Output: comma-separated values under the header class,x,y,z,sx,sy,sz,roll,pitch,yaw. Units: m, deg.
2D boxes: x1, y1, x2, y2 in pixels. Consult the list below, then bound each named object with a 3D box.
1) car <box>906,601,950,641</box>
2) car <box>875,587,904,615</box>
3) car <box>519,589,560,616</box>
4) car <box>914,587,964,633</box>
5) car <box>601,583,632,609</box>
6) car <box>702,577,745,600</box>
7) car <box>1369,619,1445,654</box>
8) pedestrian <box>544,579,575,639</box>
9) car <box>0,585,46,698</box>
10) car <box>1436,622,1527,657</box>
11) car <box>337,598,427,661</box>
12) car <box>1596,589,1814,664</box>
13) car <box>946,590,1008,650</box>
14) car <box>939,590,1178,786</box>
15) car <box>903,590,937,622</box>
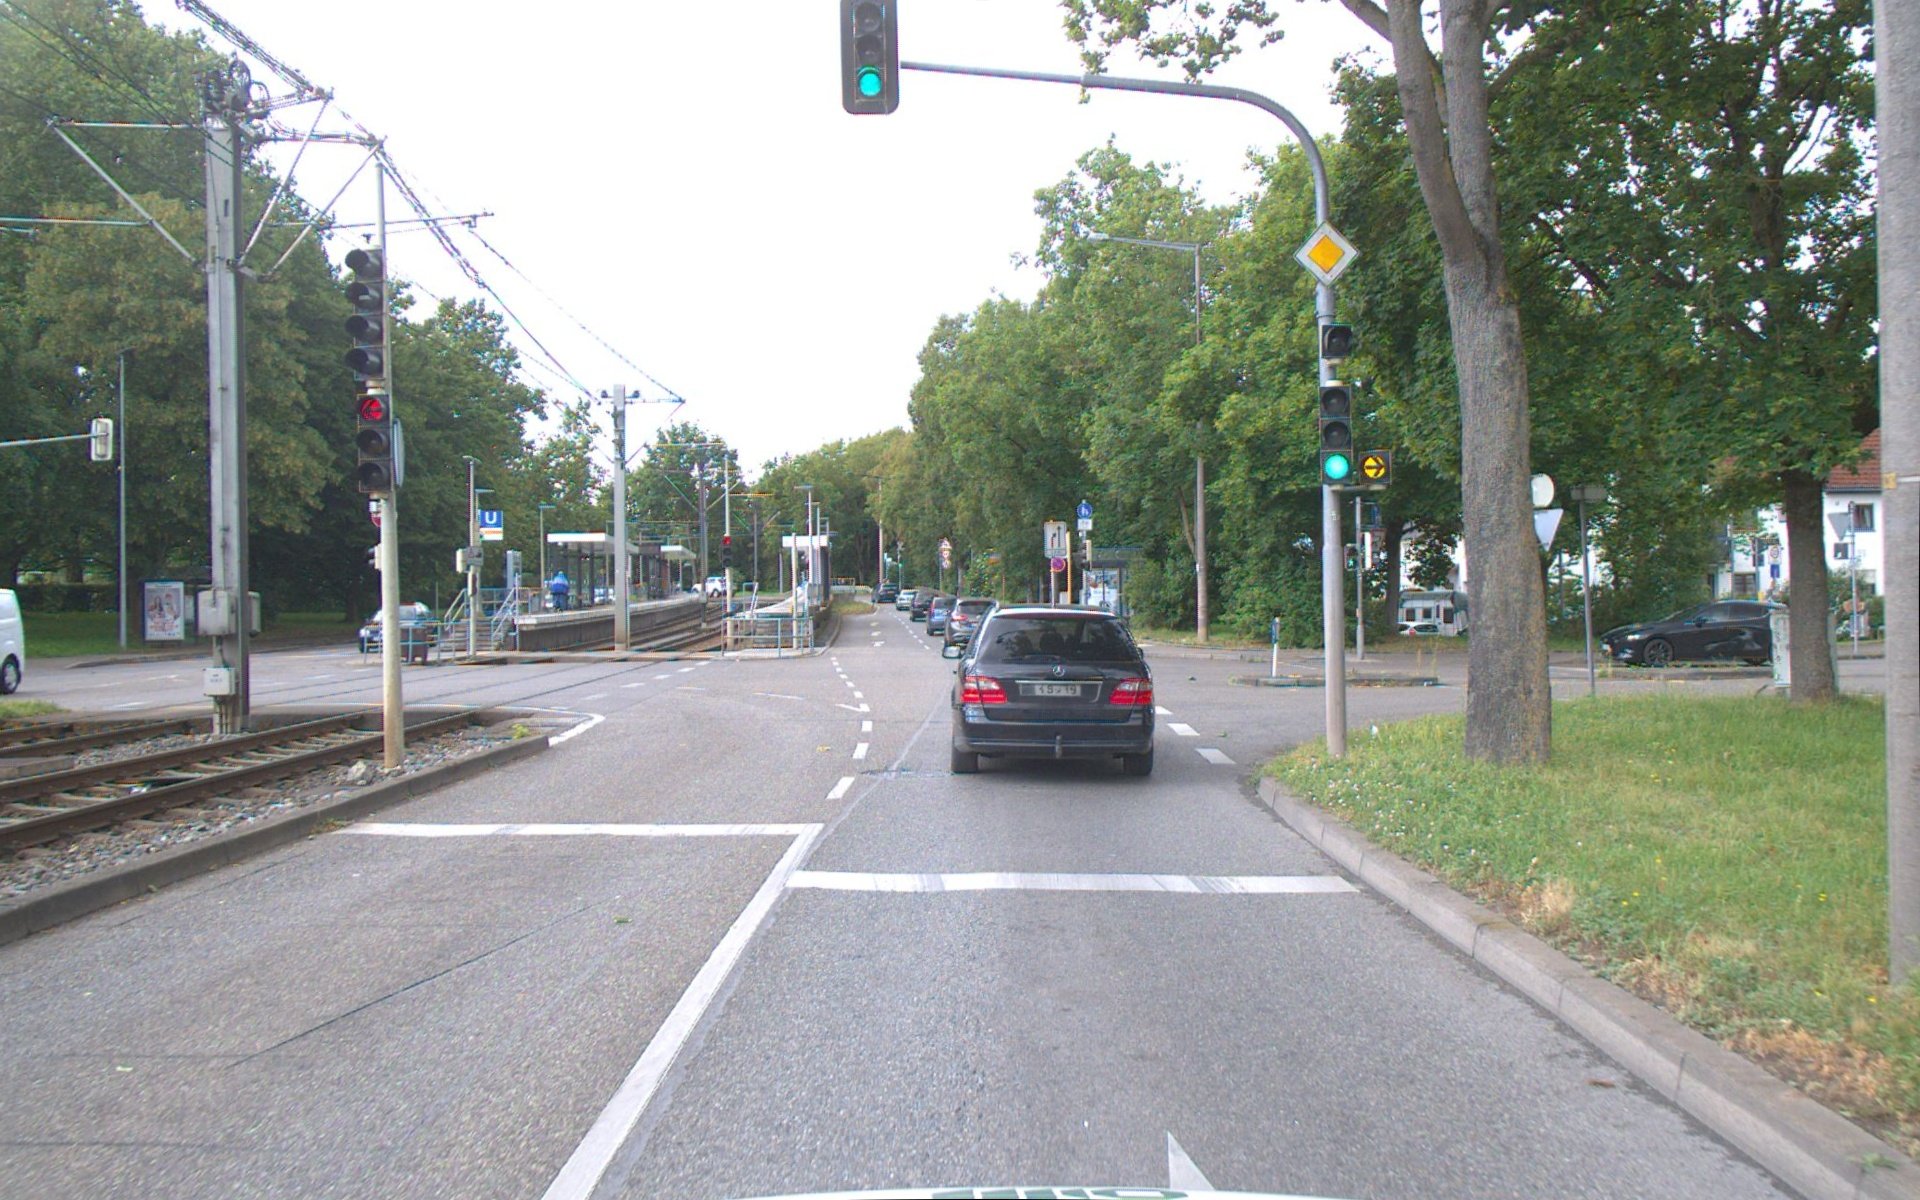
class,x,y,z,sx,sy,sz,roll,pitch,yaw
car,-1.664,1.044,83.746,1.954,1.952,3.996,1,-1,-5
car,-5.324,0.080,124.110,1.955,2.001,3.995,1,-1,-6
car,-24.887,0.189,97.966,1.653,1.471,3.996,-3,0,-5
car,-0.798,0.403,64.737,1.745,1.677,4.001,1,-1,2
car,-25.645,-0.300,123.578,1.676,1.782,4.396,-2,-1,-4
car,-21.458,-1.025,150.148,1.983,2.049,3.938,2,-1,-42
car,18.945,1.518,70.313,1.453,1.410,3.826,1,-1,-14
pedestrian,-15.024,0.342,62.109,0.950,2.224,0.975,-1,0,-3
car,-18.288,0.779,29.244,1.956,2.049,4.878,-2,0,-7
car,20.186,1.507,64.174,1.594,1.268,3.843,1,-1,-14
car,-18.240,0.910,52.367,1.664,1.893,3.996,1,-1,-4
car,16.534,0.589,36.844,4.065,1.553,1.705,-1,-1,4
car,0.539,0.599,49.688,1.745,1.677,4.001,1,-1,2
car,0.775,0.701,15.363,1.746,1.552,3.998,1,0,-3
car,-2.567,0.386,105.078,1.954,1.926,3.996,1,-1,-5
